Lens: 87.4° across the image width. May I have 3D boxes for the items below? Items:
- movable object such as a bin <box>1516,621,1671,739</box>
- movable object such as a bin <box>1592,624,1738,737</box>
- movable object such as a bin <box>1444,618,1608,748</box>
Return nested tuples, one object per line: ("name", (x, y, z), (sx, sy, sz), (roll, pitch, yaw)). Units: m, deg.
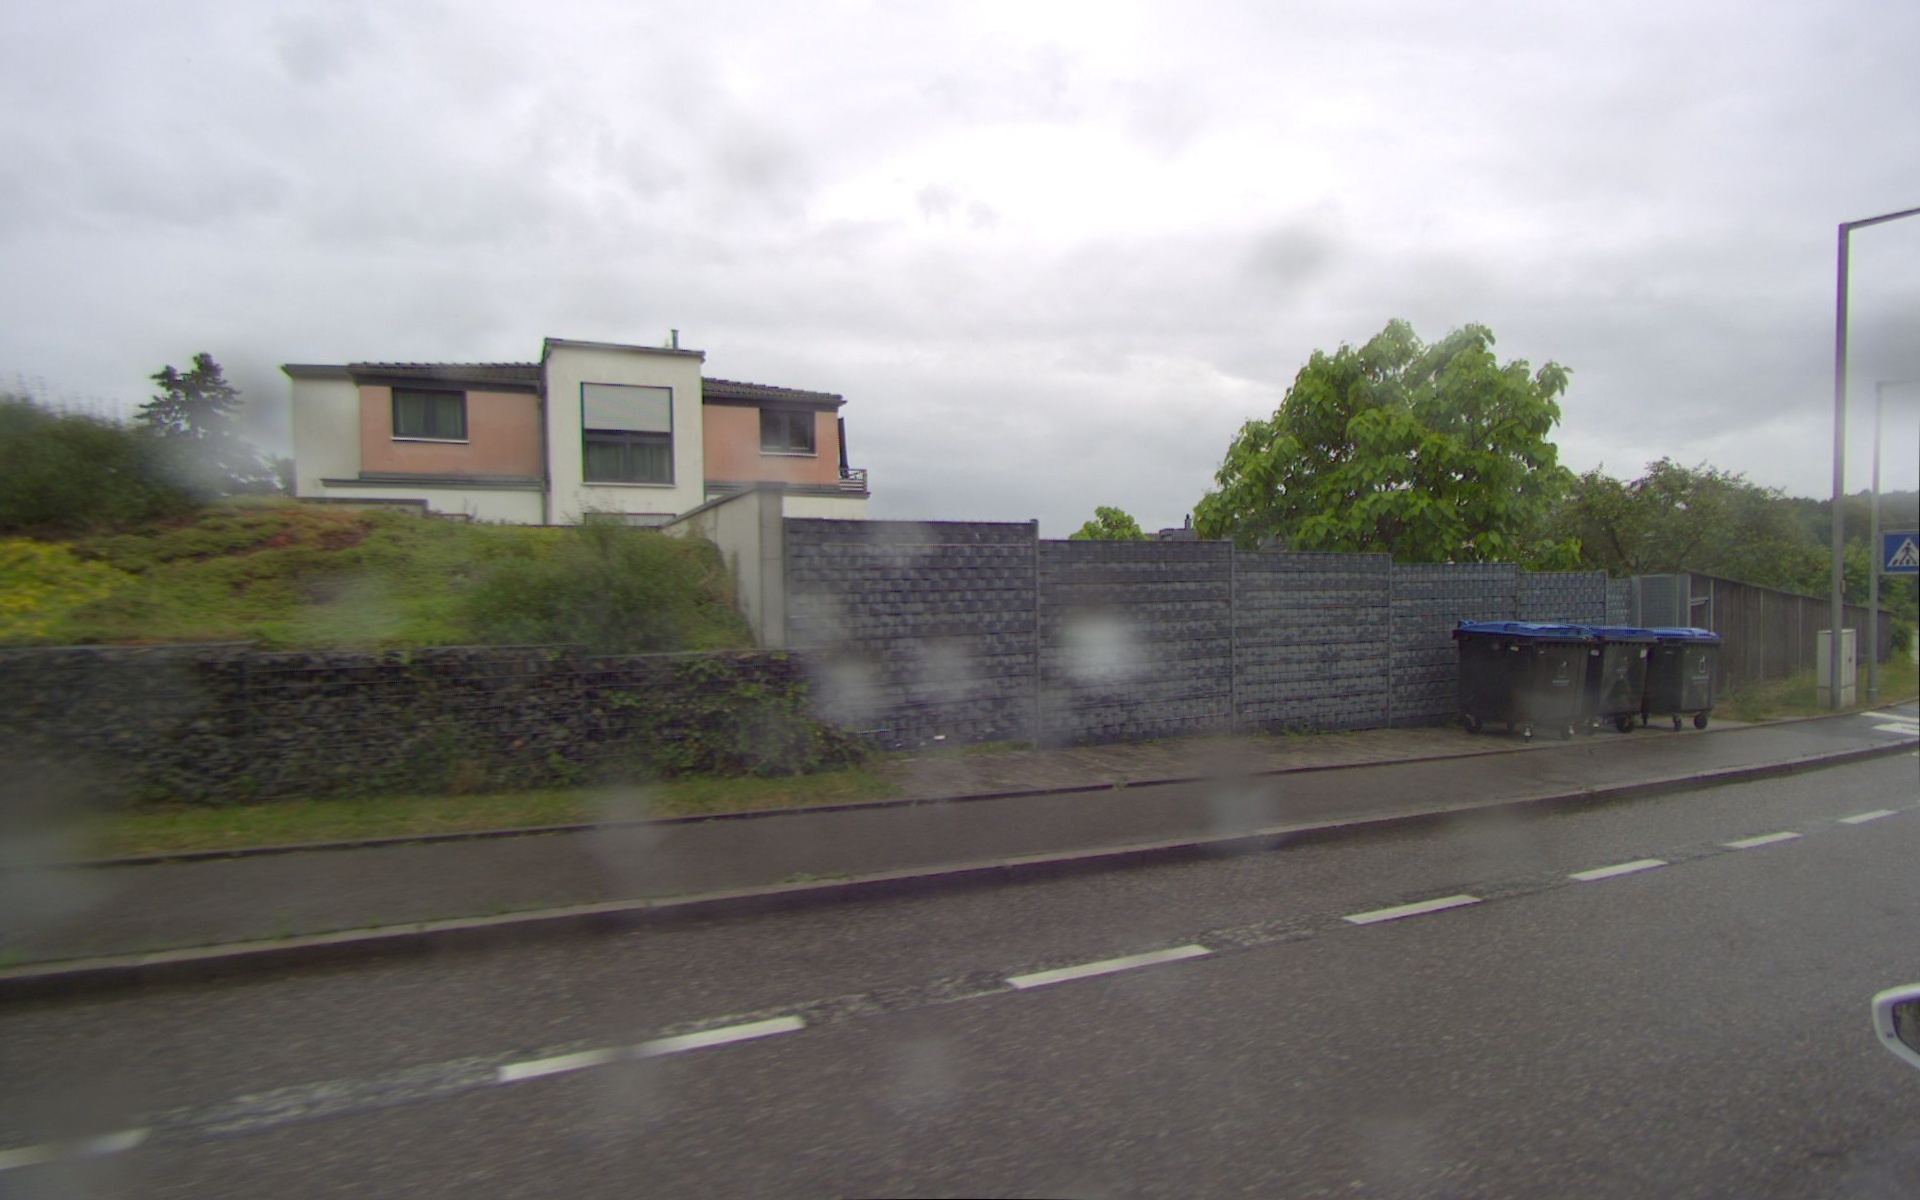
("movable object such as a bin", (7.985, 0.963, 12.673), (1.383, 1.319, 1.124), (1, 3, -33))
("movable object such as a bin", (9.446, 1.034, 13.470), (1.348, 1.340, 1.124), (1, 3, -33))
("movable object such as a bin", (6.654, 0.926, 11.823), (1.384, 1.357, 1.124), (1, 2, -33))
